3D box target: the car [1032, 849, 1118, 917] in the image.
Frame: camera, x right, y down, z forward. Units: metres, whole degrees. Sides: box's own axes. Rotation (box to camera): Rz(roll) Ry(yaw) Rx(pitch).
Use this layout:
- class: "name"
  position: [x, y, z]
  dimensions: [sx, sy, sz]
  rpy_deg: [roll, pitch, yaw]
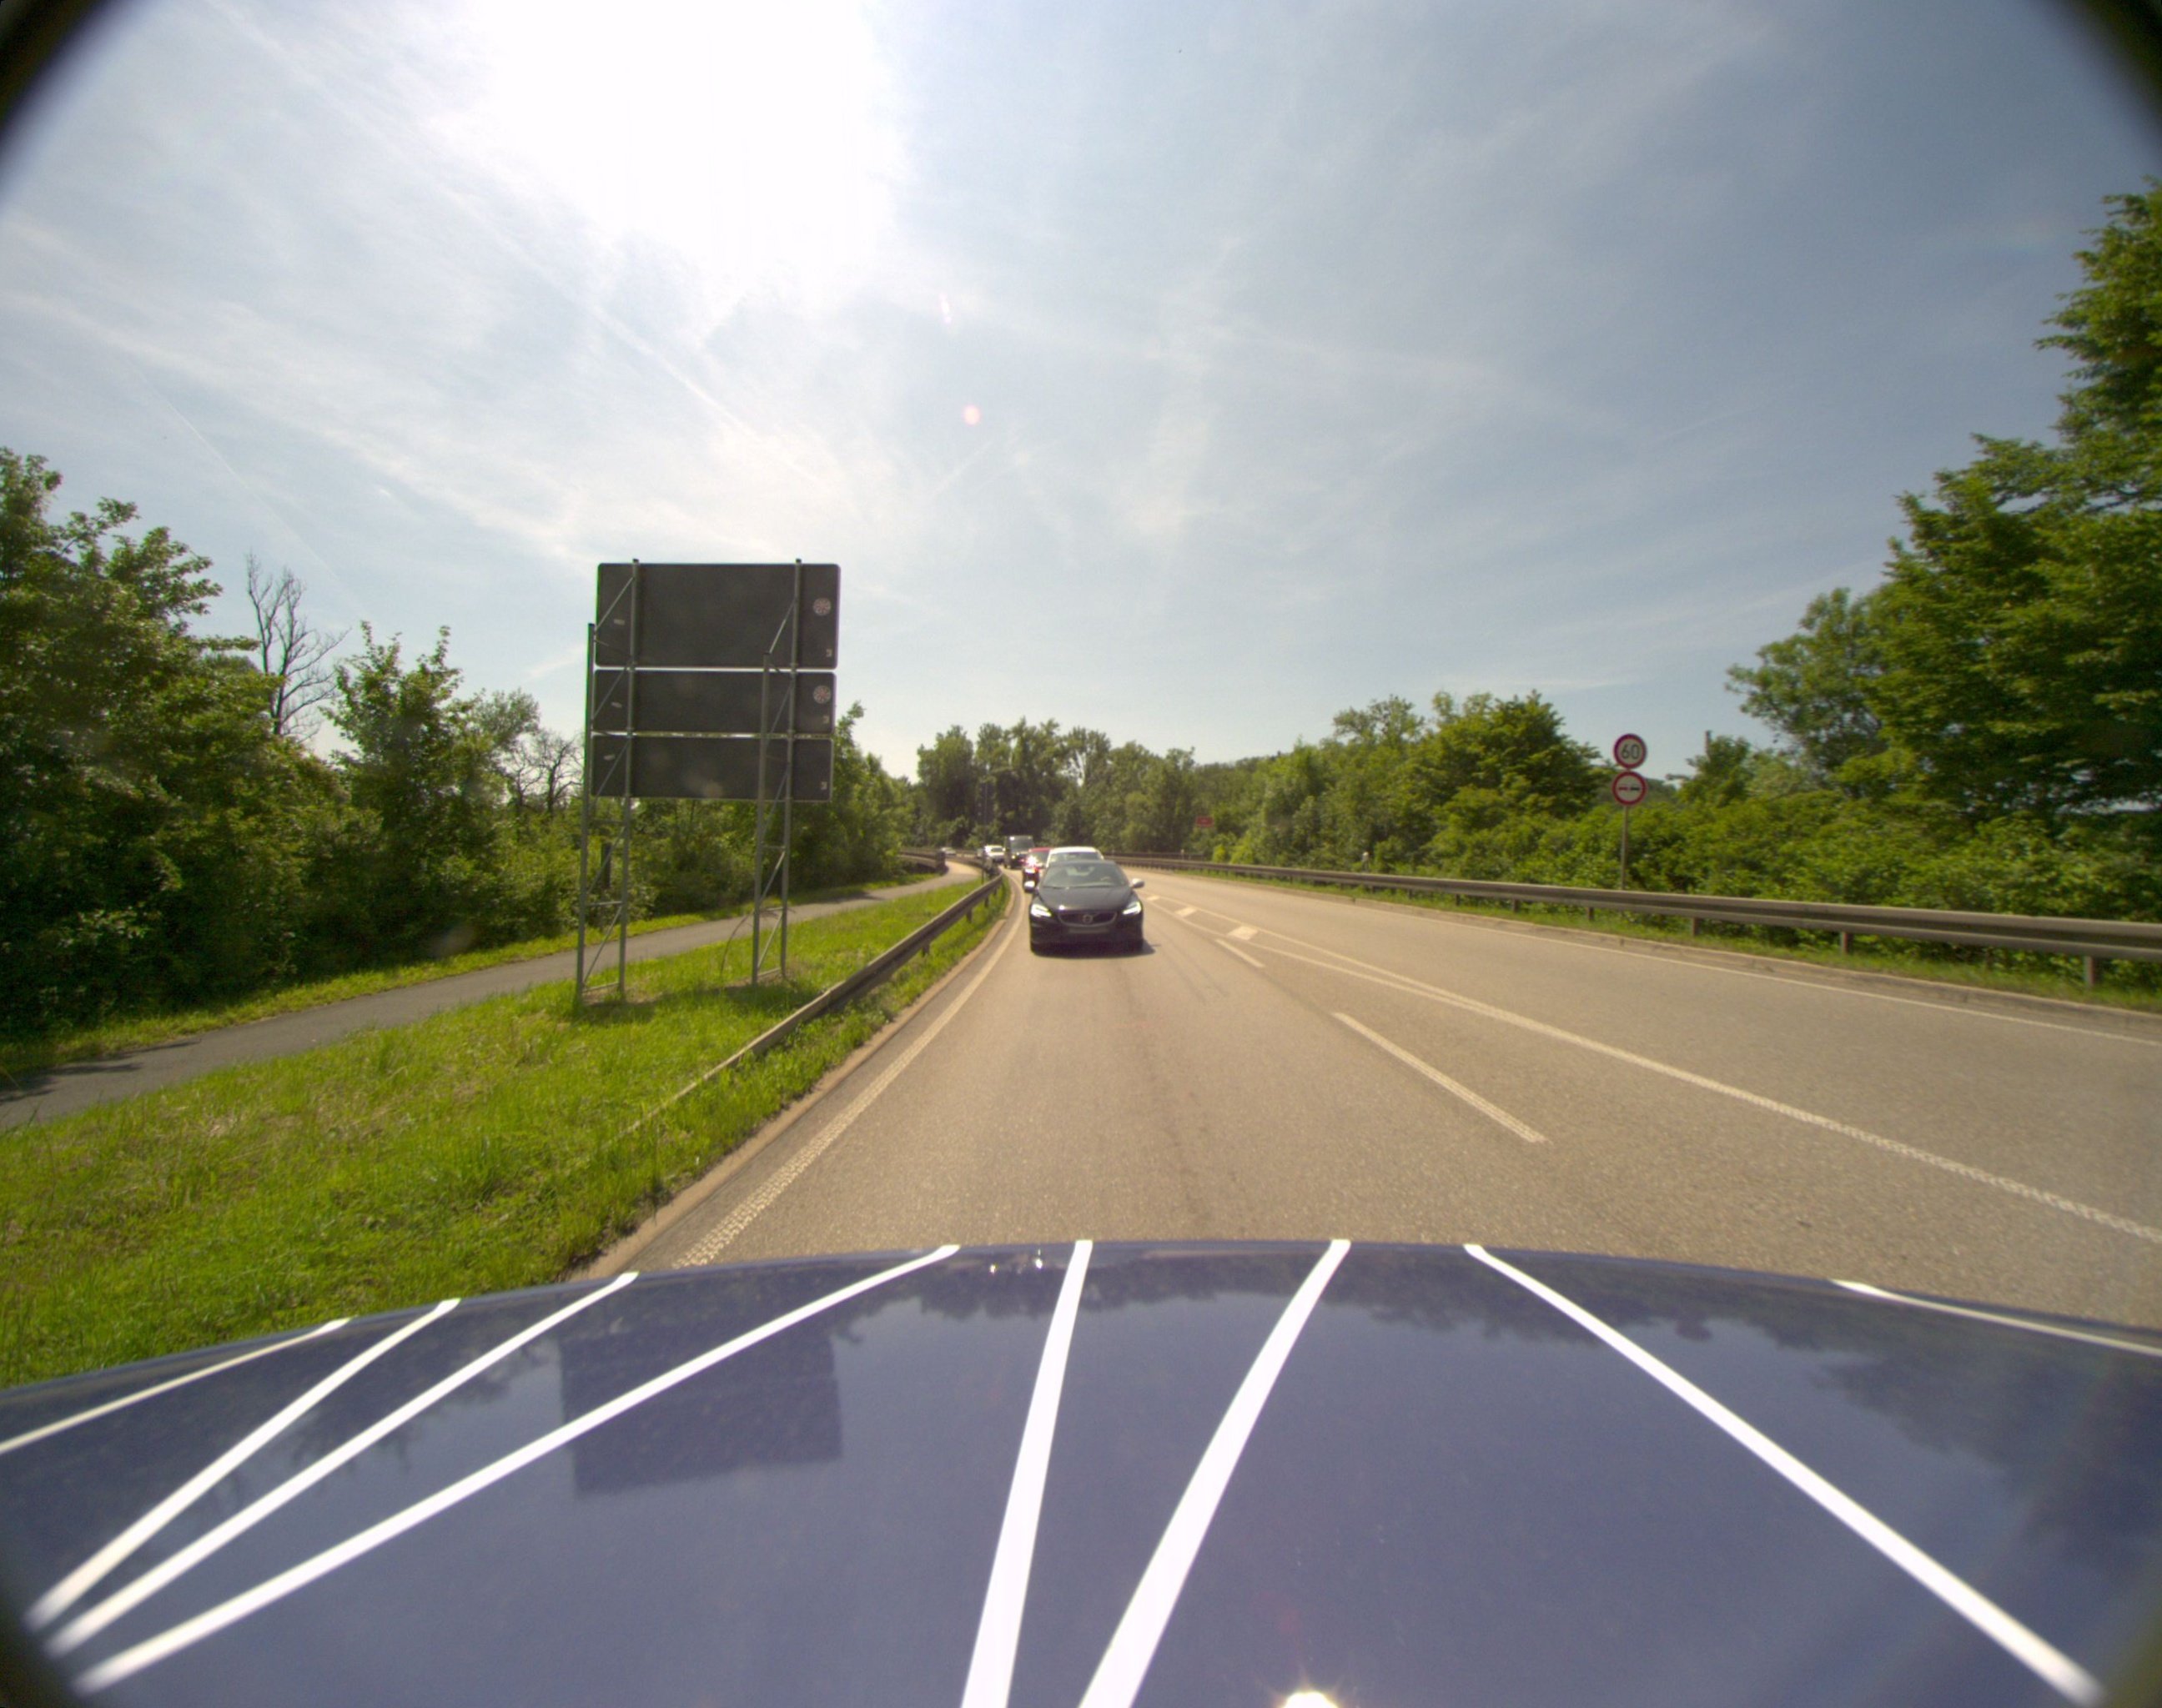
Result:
- class: "car"
  position: [-0.268, 0.684, 20.522]
  dimensions: [1.910, 1.638, 3.947]
  rpy_deg: [0, 0, -6]

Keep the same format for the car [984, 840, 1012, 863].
- class: "car"
  position: [-7.898, -0.275, 71.851]
  dimensions: [2.001, 2.002, 4.706]
  rpy_deg: [-2, 2, -13]

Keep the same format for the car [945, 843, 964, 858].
- class: "car"
  position: [-17.609, -0.533, 105.585]
  dimensions: [2.001, 2.003, 3.993]
  rpy_deg: [-3, 2, -17]

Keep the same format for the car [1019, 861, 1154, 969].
- class: "car"
  position: [0.051, 0.891, 12.942]
  dimensions: [1.909, 1.413, 3.949]
  rpy_deg: [-2, 1, -1]

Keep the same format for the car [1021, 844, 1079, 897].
- class: "car"
  position: [-1.255, 0.555, 29.414]
  dimensions: [1.999, 1.766, 3.996]
  rpy_deg: [-2, 2, -5]

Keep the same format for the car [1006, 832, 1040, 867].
- class: "car"
  position: [-4.463, -0.433, 57.866]
  dimensions: [2.000, 2.471, 4.853]
  rpy_deg: [-2, 2, -11]
